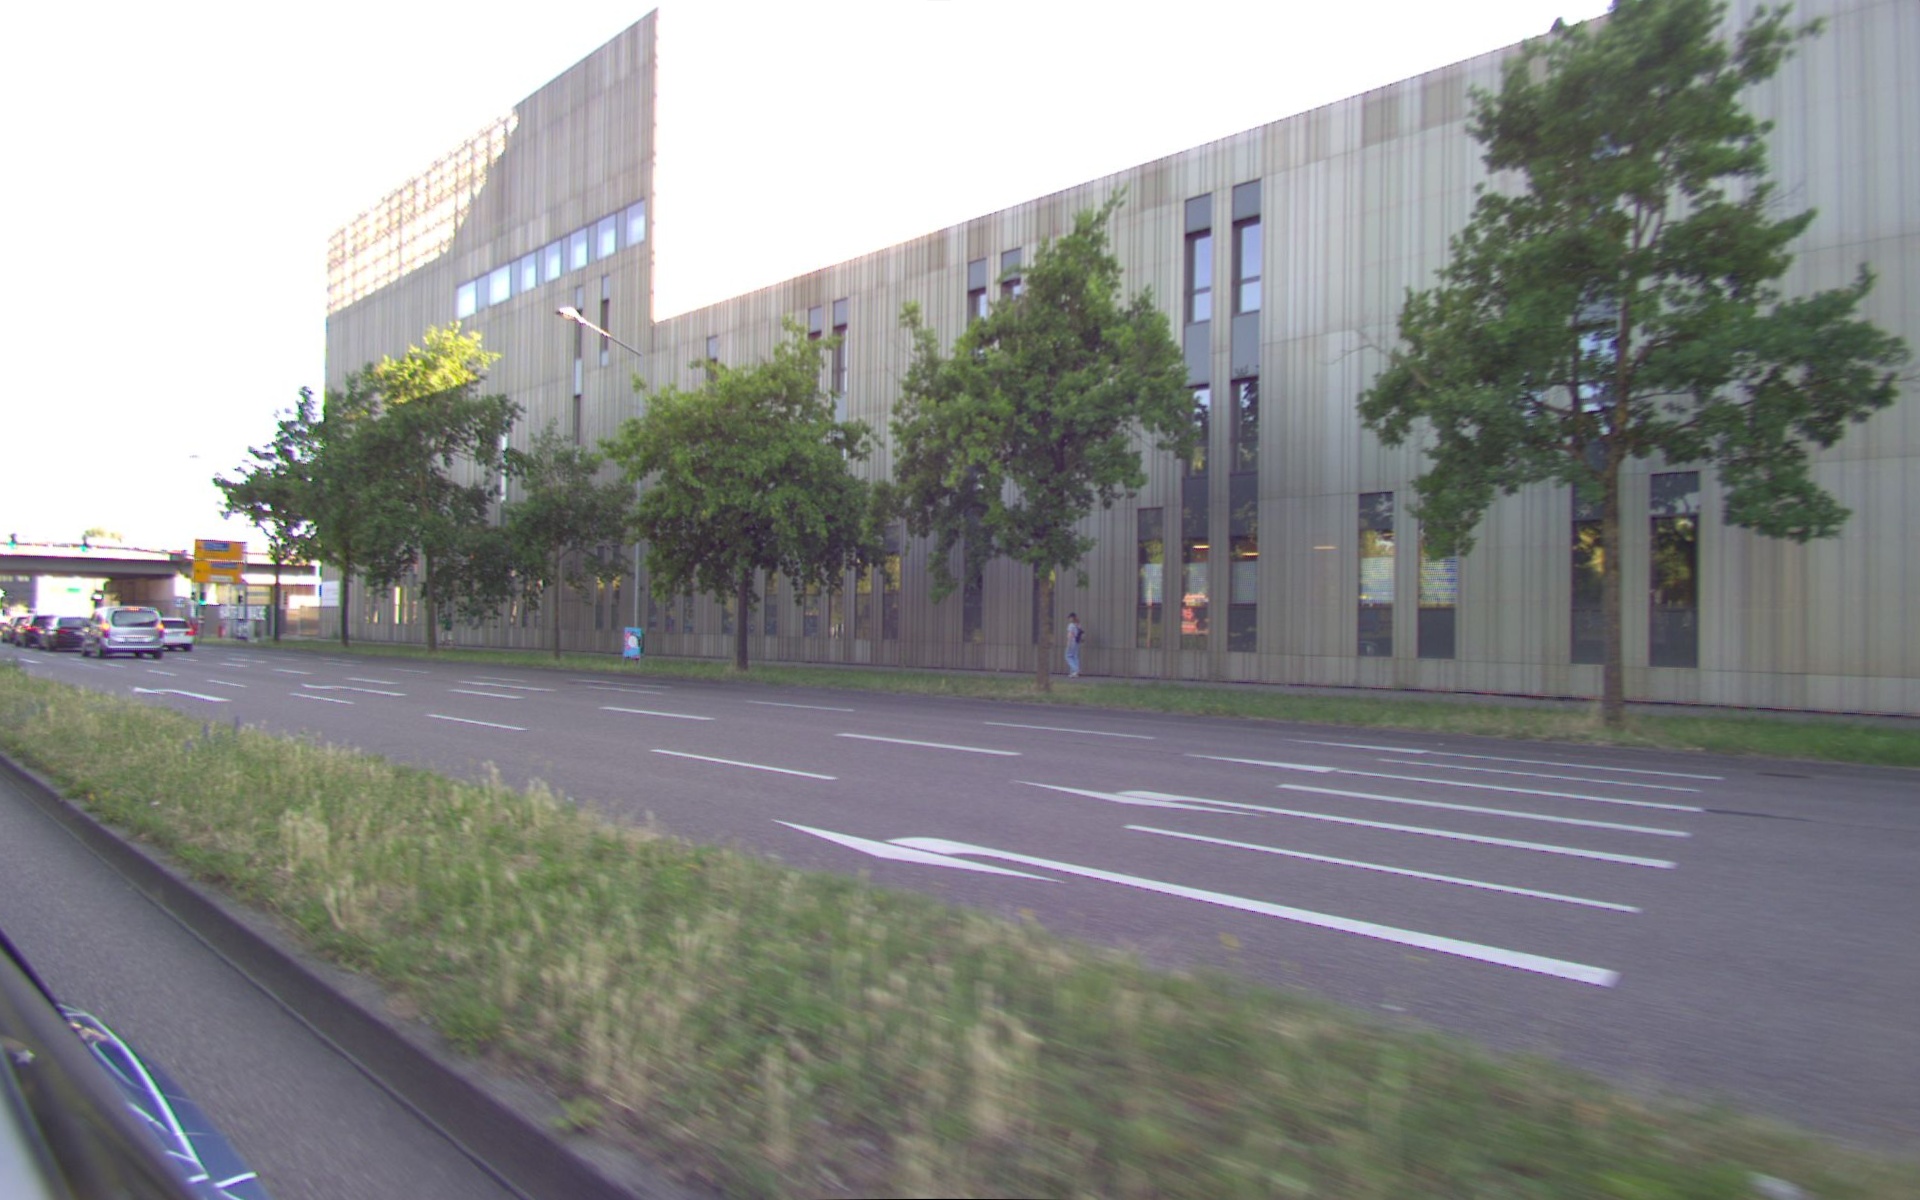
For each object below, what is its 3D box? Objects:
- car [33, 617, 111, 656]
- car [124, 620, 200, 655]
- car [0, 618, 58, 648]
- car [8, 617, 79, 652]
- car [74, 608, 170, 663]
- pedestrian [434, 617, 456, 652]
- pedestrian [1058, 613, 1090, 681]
[{"bbox_3d":[-36.789,1.475,41.882,4.289,1.530,1.904,-1,-3,42],"label":"car"},{"bbox_3d":[-36.547,1.697,46.282,4.813,1.484,1.826,-1,-3,41],"label":"car"},{"bbox_3d":[-46.714,1.625,50.764,3.770,1.444,1.674,-1,-3,41],"label":"car"},{"bbox_3d":[-41.689,1.559,46.015,3.998,1.530,1.905,-1,-3,41],"label":"car"},{"bbox_3d":[-29.844,1.232,36.000,4.400,1.830,1.972,-1,-3,42],"label":"car"},{"bbox_3d":[-24.271,1.624,47.689,0.725,1.641,0.689,-1,-2,41],"label":"pedestrian"},{"bbox_3d":[3.040,1.235,26.981,0.649,1.781,0.596,-1,-2,42],"label":"pedestrian"}]
